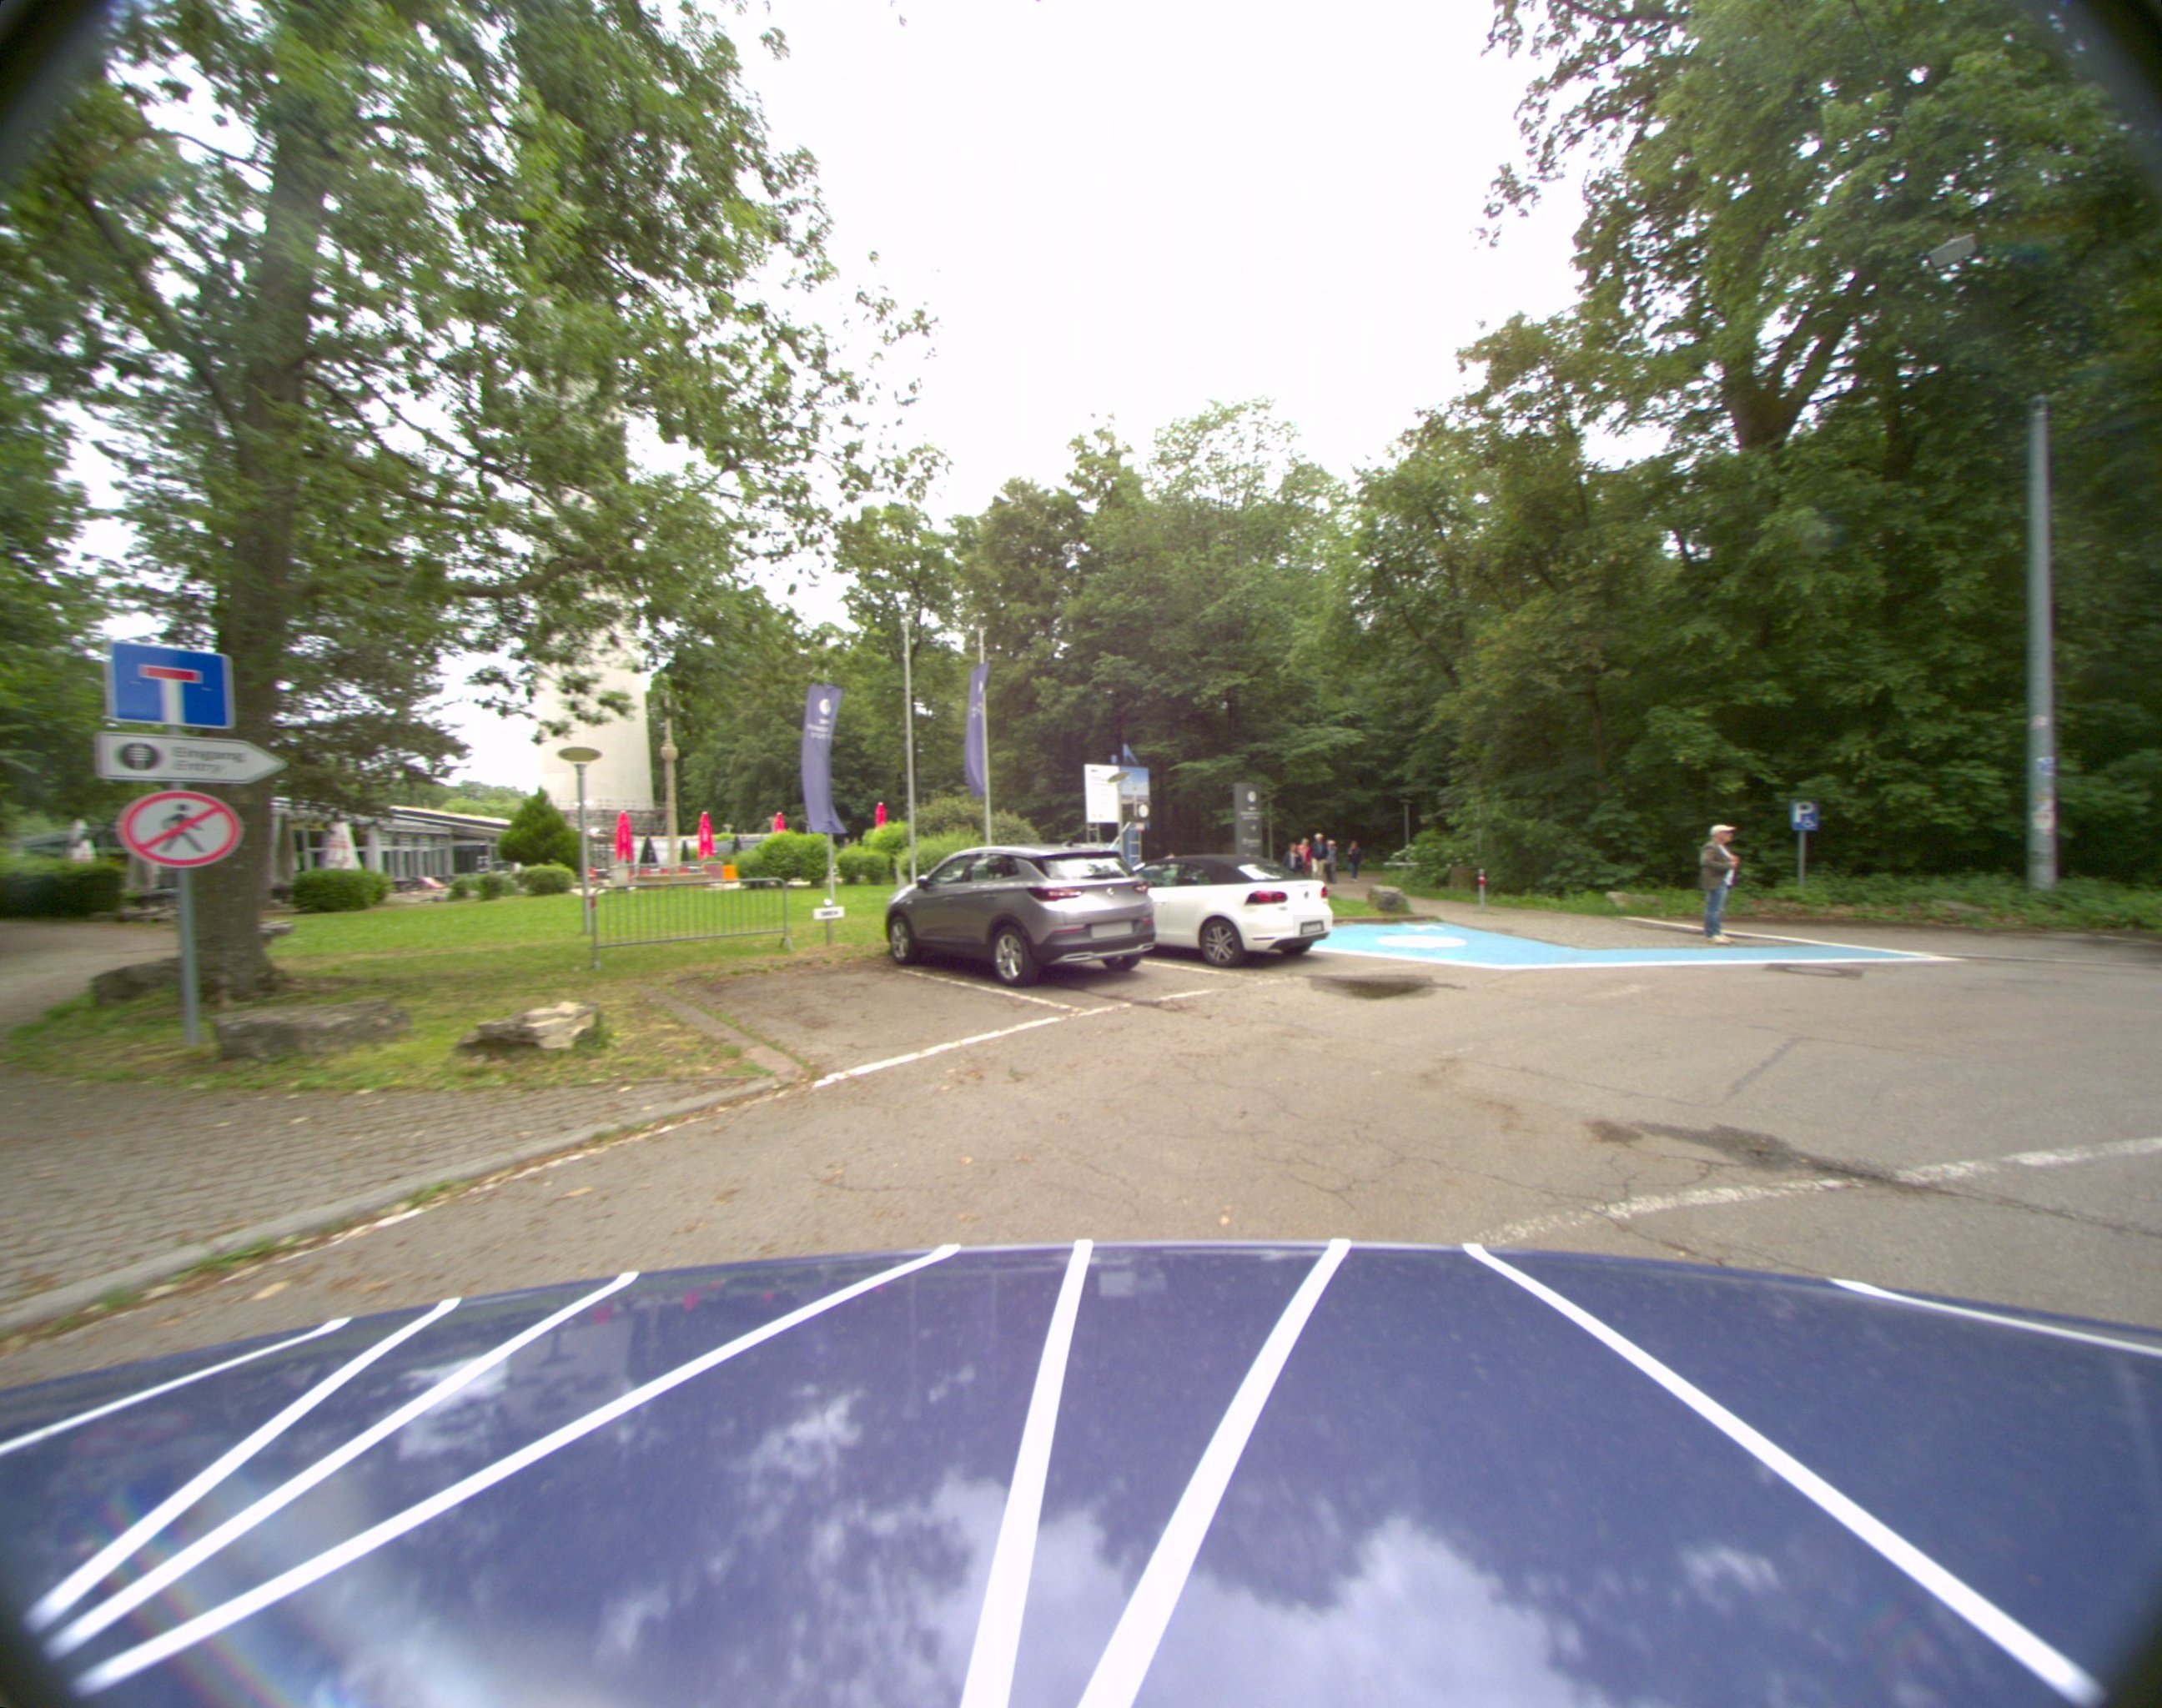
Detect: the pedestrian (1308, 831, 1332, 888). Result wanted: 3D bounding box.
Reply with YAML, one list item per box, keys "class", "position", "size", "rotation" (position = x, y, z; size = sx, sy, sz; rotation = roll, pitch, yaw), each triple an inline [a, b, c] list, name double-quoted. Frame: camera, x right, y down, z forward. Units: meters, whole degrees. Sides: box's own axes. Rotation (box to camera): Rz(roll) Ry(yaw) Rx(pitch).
- class: "pedestrian"
  position: [8.171, 0.190, 26.011]
  size: [0.733, 1.905, 0.669]
  rotation: [-1, 1, 15]

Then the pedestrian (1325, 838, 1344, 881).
- class: "pedestrian"
  position: [10.017, 0.209, 30.061]
  size: [0.608, 1.664, 0.605]
  rotation: [-1, 1, 9]

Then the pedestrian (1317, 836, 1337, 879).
- class: "pedestrian"
  position: [10.199, 0.144, 31.543]
  size: [0.680, 1.758, 0.714]
  rotation: [-1, 1, 9]

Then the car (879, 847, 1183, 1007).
- class: "car"
  position: [-0.828, 0.736, 9.811]
  size: [1.903, 1.576, 3.989]
  rotation: [-2, 1, -39]

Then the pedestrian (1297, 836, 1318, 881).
- class: "pedestrian"
  position: [9.063, 0.183, 30.405]
  size: [0.683, 1.752, 0.605]
  rotation: [-1, 1, 9]

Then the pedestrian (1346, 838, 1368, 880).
- class: "pedestrian"
  position: [11.179, 0.193, 30.793]
  size: [0.680, 1.664, 0.663]
  rotation: [-1, 1, 9]

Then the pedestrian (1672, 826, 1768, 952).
- class: "pedestrian"
  position: [9.135, 0.470, 10.869]
  size: [0.765, 1.715, 0.894]
  rotation: [-2, 1, -37]

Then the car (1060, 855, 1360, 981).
- class: "car"
  position: [1.686, 0.753, 11.010]
  size: [1.903, 1.420, 3.989]
  rotation: [-2, 1, -40]

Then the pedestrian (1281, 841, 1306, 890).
- class: "pedestrian"
  position: [7.117, 0.375, 25.468]
  size: [0.777, 1.624, 0.638]
  rotation: [-1, 1, 15]
